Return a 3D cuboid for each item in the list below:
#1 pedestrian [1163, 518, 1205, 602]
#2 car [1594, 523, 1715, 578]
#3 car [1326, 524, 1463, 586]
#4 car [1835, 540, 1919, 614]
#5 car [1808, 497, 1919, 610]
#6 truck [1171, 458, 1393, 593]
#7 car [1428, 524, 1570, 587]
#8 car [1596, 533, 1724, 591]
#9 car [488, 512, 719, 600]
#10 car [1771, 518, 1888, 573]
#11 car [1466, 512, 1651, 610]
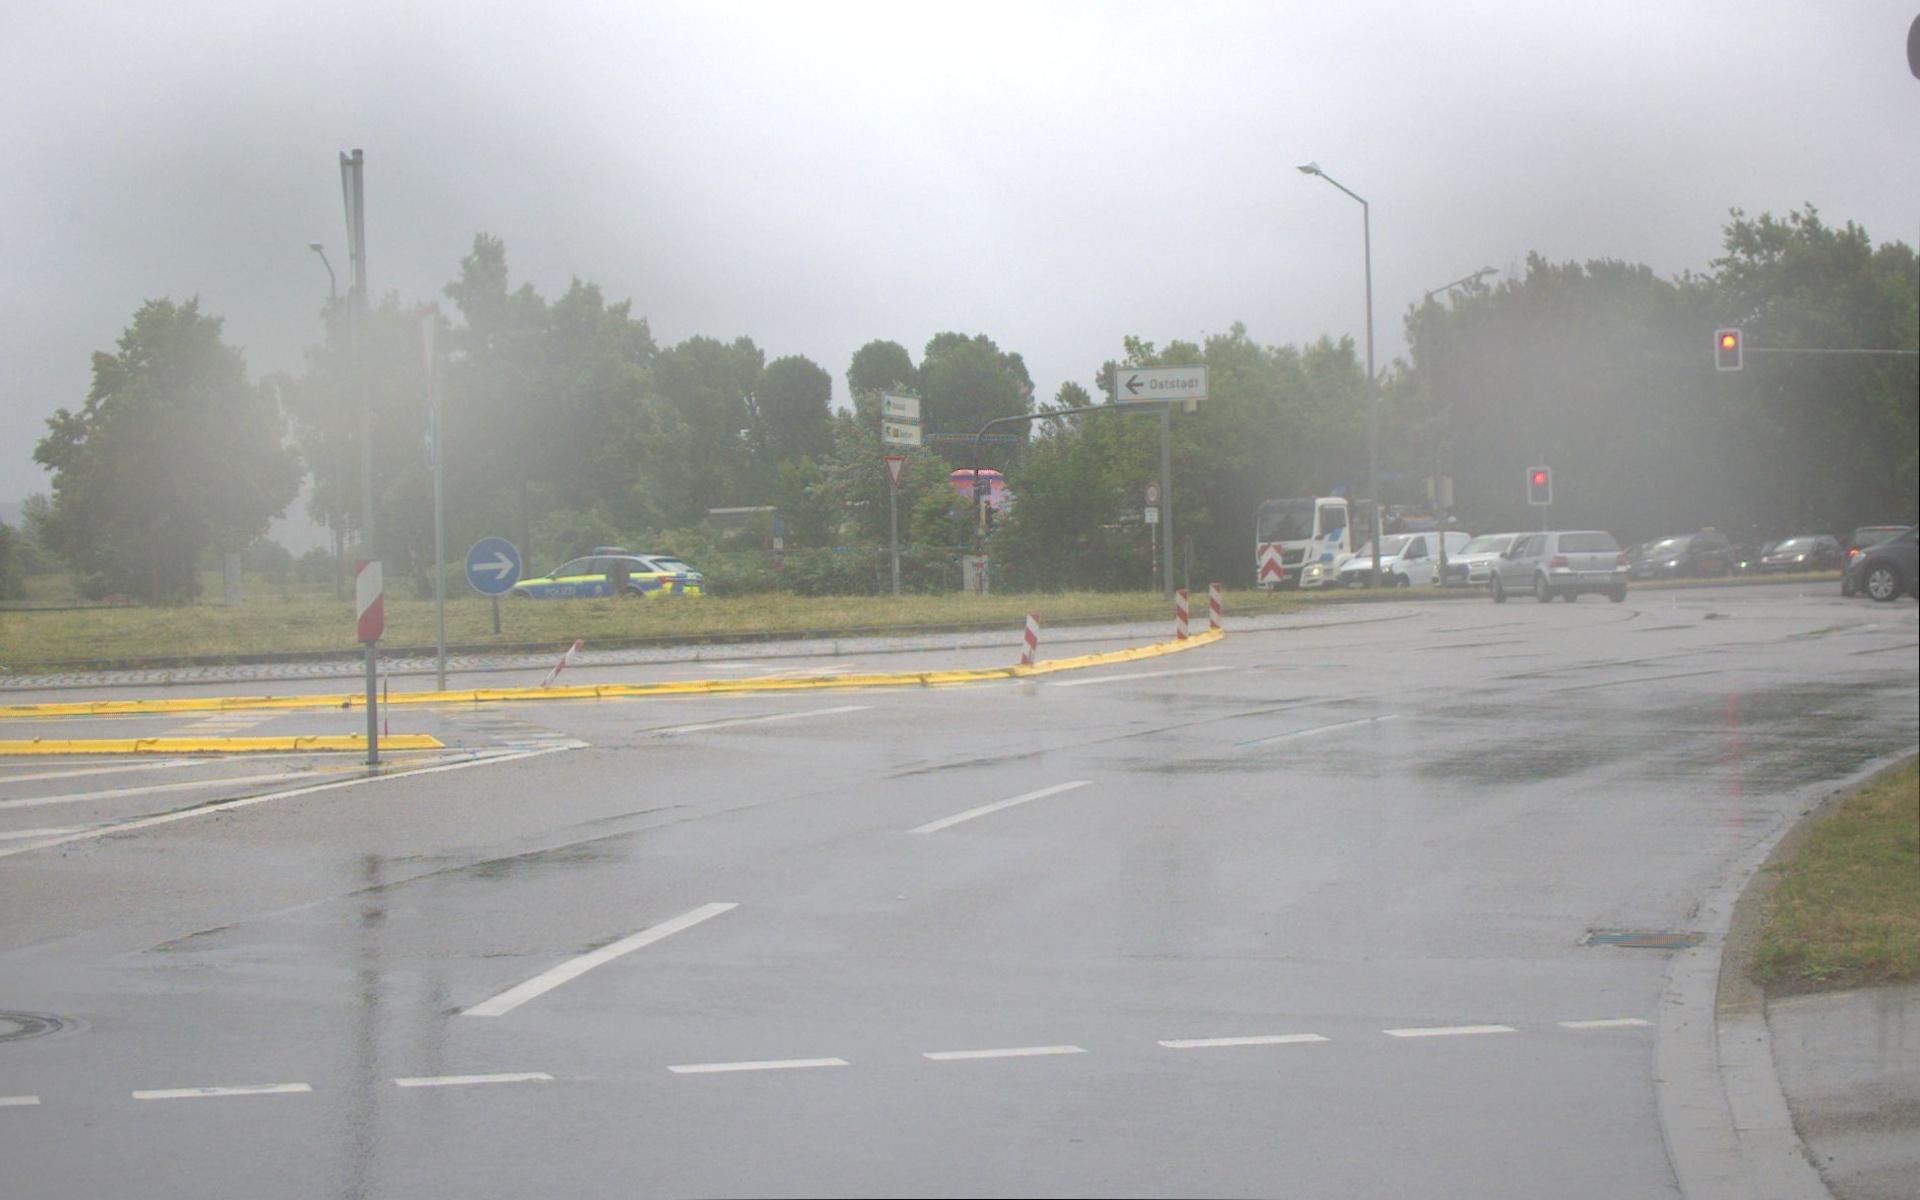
[{"bbox_3d":[3.541,-0.631,54.307,0.453,1.300,0.485,-1,1,38],"label":"pedestrian"},{"bbox_3d":[21.922,-1.575,108.460,1.800,1.656,4.399,-1,1,41],"label":"car"},{"bbox_3d":[12.190,-1.255,96.257,1.800,1.656,4.124,1,0,41],"label":"car"},{"bbox_3d":[19.023,-0.491,71.099,1.619,1.449,3.986,-1,1,12],"label":"car"},{"bbox_3d":[16.621,-0.744,56.529,4.770,1.845,1.996,1,0,35],"label":"car"},{"bbox_3d":[7.048,-1.542,74.080,2.464,2.677,8.049,1,0,23],"label":"truck"},{"bbox_3d":[14.855,-1.211,94.596,1.800,1.656,4.399,1,0,41],"label":"car"},{"bbox_3d":[20.916,-1.122,102.648,1.800,1.656,4.399,1,0,41],"label":"car"},{"bbox_3d":[-7.903,-0.971,76.134,4.768,1.845,1.997,-1,1,29],"label":"car"},{"bbox_3d":[27.623,-1.751,109.127,1.800,1.656,4.399,0,1,41],"label":"car"},{"bbox_3d":[11.871,-0.756,68.511,1.993,1.845,4.777,1,0,-12],"label":"car"}]
